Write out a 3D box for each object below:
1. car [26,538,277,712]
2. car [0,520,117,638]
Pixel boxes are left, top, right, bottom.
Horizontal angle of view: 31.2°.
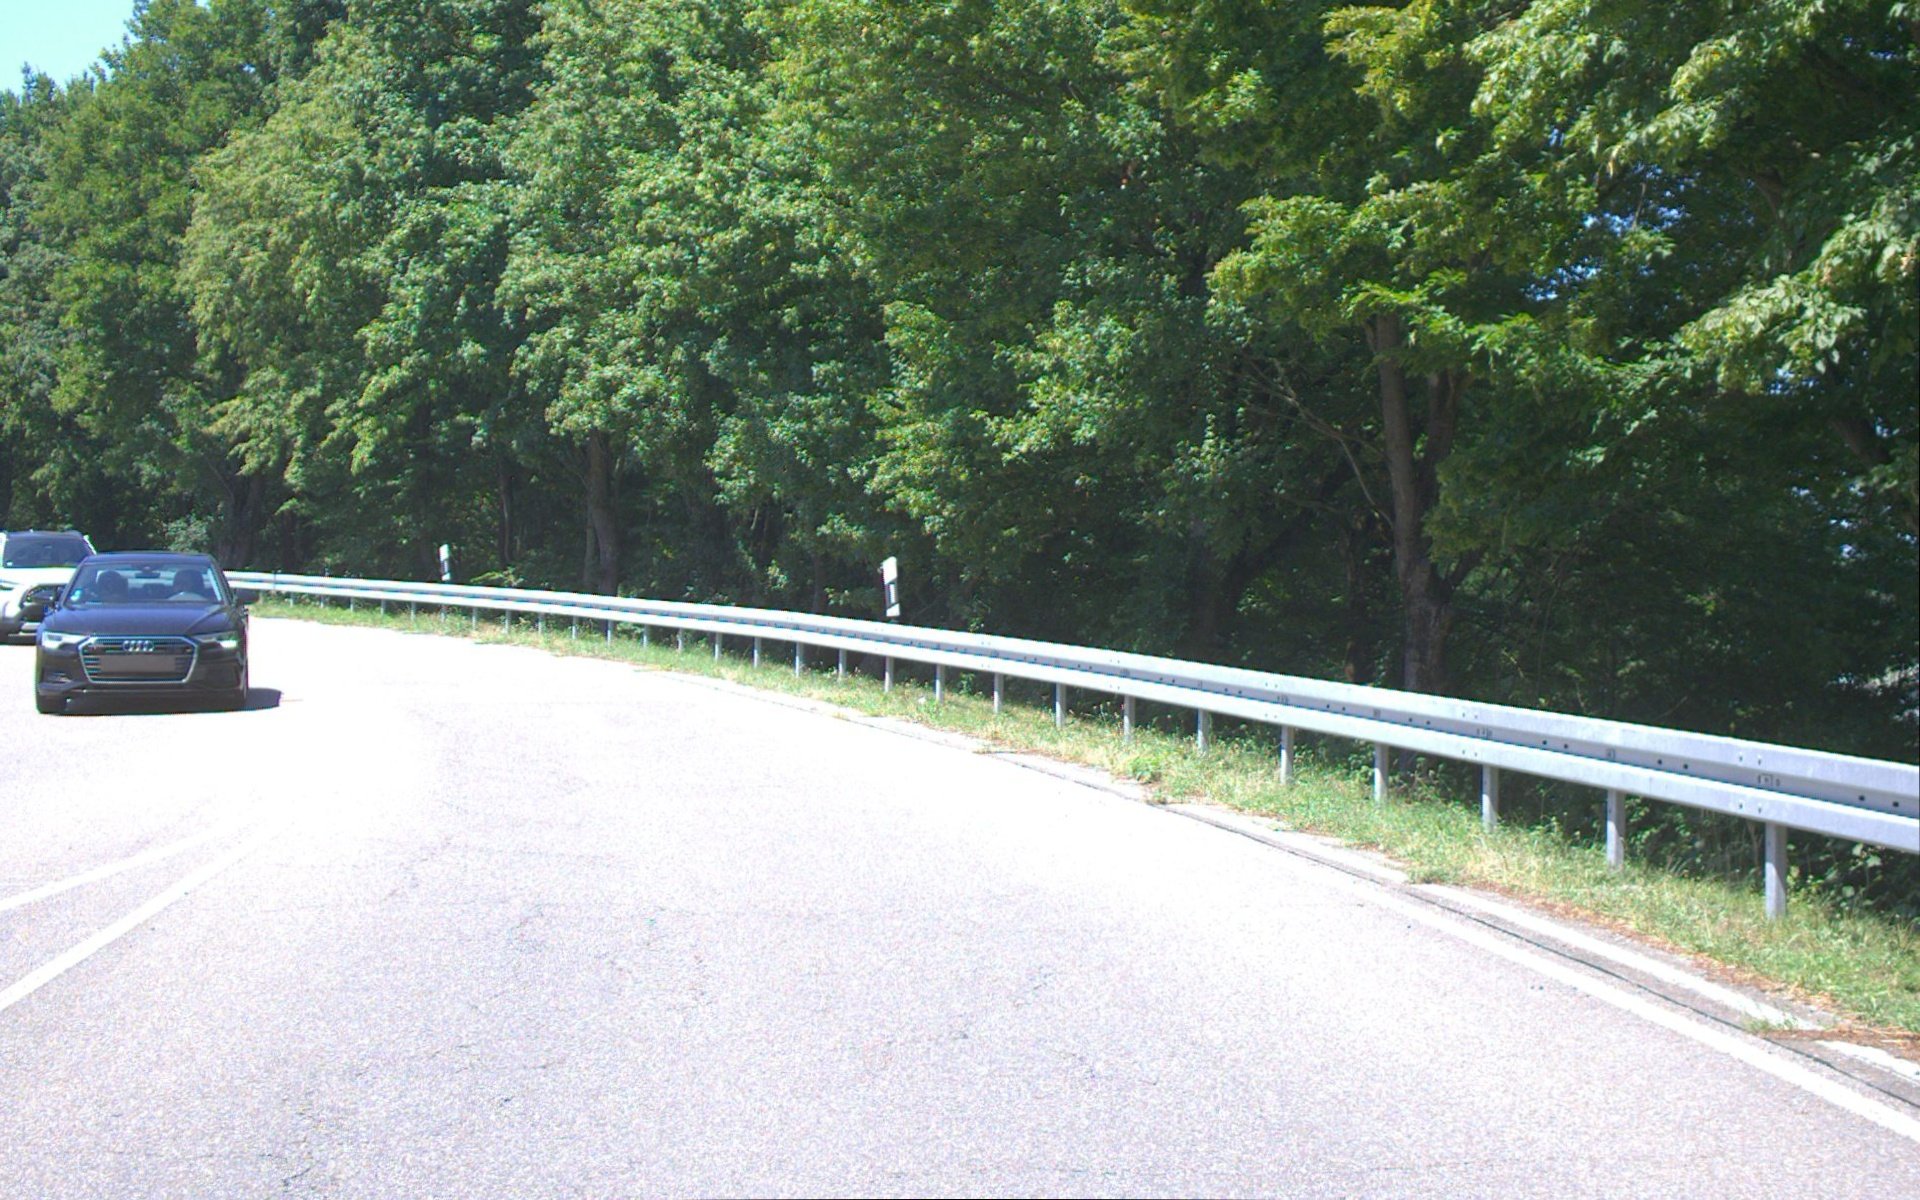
[{"bbox_3d":[-7.614,0.197,32.760,1.802,1.501,4.659,-1,1,-7],"label":"car"},{"bbox_3d":[-13.441,-0.287,50.089,1.822,1.585,4.219,-3,1,-19],"label":"car"}]
